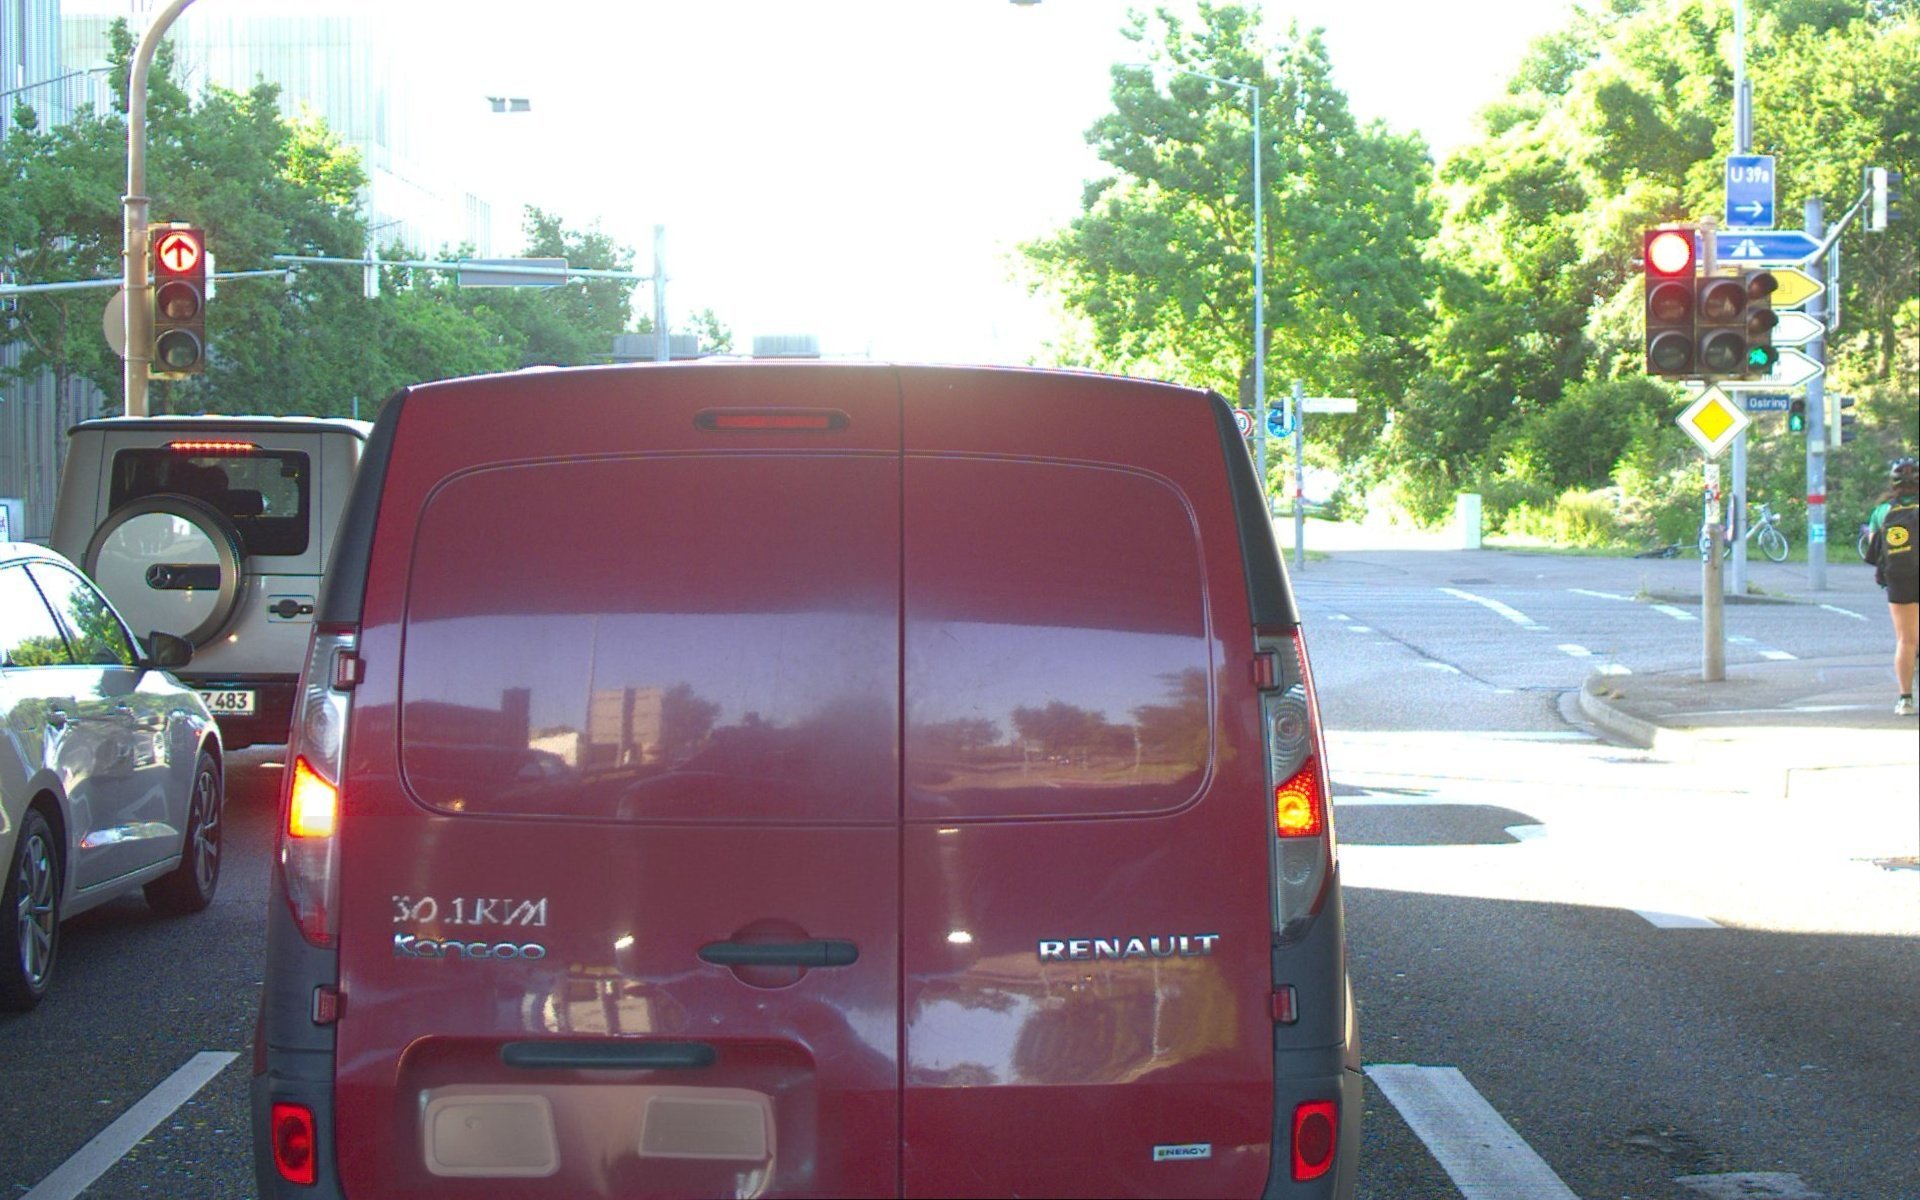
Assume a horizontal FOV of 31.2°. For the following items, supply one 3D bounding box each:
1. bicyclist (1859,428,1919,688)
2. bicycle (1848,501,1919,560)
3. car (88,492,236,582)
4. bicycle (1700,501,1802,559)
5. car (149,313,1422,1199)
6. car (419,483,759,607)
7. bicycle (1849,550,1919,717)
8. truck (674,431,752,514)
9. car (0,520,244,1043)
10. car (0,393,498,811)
[{"bbox_3d":[6.138,-0.263,21.815,0.591,1.608,0.942,1,0,-1],"label":"bicyclist"},{"bbox_3d":[16.662,-1.226,60.912,1.745,1.020,0.593,1,0,9],"label":"bicycle"},{"bbox_3d":[-16.570,-1.342,71.619,1.825,1.731,4.629,-2,2,1],"label":"car"},{"bbox_3d":[14.353,-1.272,62.374,1.745,1.020,0.593,1,0,9],"label":"bicycle"},{"bbox_3d":[-0.275,0.477,6.921,1.805,1.788,4.000,1,1,-1],"label":"car"},{"bbox_3d":[-4.508,-0.674,41.807,3.745,1.443,1.695,-1,1,-27],"label":"car"},{"bbox_3d":[6.149,0.199,21.683,0.591,1.020,1.750,1,1,-1],"label":"bicycle"},{"bbox_3d":[-9.526,-4.920,133.240,2.409,3.016,6.657,-2,2,0],"label":"truck"},{"bbox_3d":[-3.642,0.470,11.404,1.813,1.433,3.731,0,2,-1],"label":"car"},{"bbox_3d":[-3.722,-0.014,18.810,1.801,1.982,4.589,1,1,-1],"label":"car"}]
